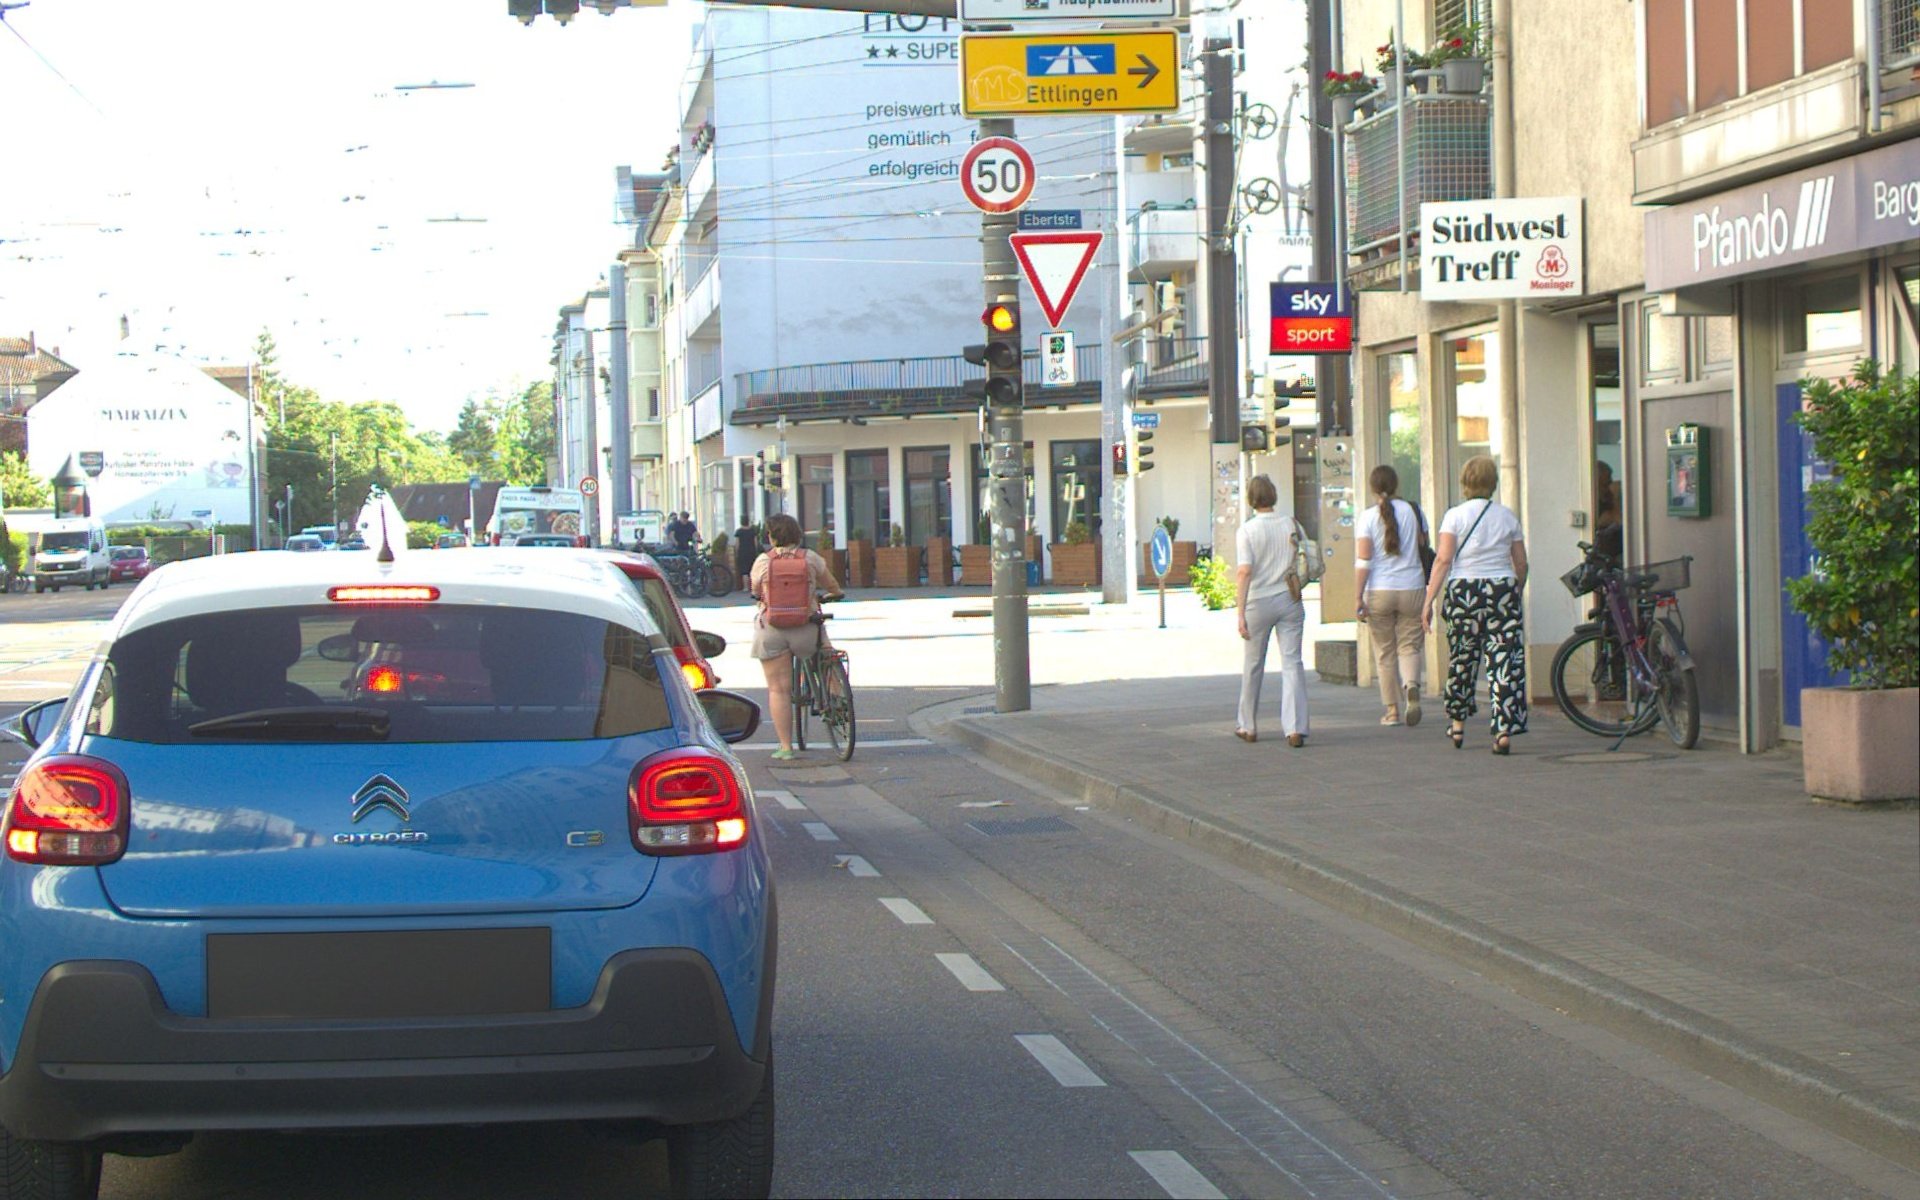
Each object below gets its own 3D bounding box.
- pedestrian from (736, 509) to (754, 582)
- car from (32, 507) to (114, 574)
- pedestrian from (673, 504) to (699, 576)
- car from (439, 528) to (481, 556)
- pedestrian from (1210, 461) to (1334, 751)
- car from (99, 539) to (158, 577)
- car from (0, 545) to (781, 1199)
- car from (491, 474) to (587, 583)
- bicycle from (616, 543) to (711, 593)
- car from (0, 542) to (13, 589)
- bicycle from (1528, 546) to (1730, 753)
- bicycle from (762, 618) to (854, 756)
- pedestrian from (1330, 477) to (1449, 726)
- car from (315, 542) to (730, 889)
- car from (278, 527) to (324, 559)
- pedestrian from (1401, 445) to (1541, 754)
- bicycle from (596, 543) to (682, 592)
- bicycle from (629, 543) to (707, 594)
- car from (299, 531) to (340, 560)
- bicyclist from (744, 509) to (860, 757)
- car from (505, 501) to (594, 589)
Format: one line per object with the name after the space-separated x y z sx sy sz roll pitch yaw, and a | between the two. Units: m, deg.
-4.566 -1.162 73.088 0.284 1.550 0.305 -2 1 -13 | pedestrian
-31.100 -2.115 120.670 2.206 2.243 4.678 -2 2 -8 | car
-6.000 -1.312 75.257 0.491 1.550 0.384 -2 1 -7 | pedestrian
-23.496 -2.711 161.409 1.754 1.255 3.833 -1 2 -11 | car
1.858 0.023 20.529 0.541 1.666 0.624 -3 3 -6 | pedestrian
-35.243 -1.812 145.823 2.021 1.520 4.001 -1 1 -8 | car
-1.580 0.600 8.890 1.743 1.457 4.001 0 1 -10 | car
-9.205 -1.555 75.085 1.993 2.317 4.001 -1 1 -7 | car
-6.023 -0.654 69.903 1.873 0.953 0.702 -2 1 -2 | bicycle
-33.577 -1.154 117.357 1.870 1.568 4.001 -1 1 -7 | car
3.692 0.246 19.112 0.530 1.068 1.811 -2 1 -8 | bicycle
-1.064 0.585 23.793 0.498 0.861 1.749 -2 1 -6 | bicycle
2.684 0.000 21.519 0.541 1.502 0.611 -3 3 -6 | pedestrian
-2.020 0.460 16.733 1.738 1.415 4.001 -1 1 -4 | car
-32.728 -2.823 170.754 2.021 1.520 4.001 -1 1 -8 | car
2.845 -0.010 19.194 0.541 1.666 0.650 -3 2 -6 | pedestrian
-6.649 -0.669 71.225 1.720 0.953 0.702 -2 1 -2 | bicycle
-5.853 -0.635 68.852 1.503 0.953 0.702 -2 1 -2 | bicycle
-35.059 -3.006 188.203 2.021 1.520 4.001 -2 2 -8 | car
-1.078 0.212 23.358 0.726 1.640 0.790 -2 1 -4 | bicyclist
-8.400 -1.129 70.218 1.732 1.744 3.214 -1 1 -7 | car
